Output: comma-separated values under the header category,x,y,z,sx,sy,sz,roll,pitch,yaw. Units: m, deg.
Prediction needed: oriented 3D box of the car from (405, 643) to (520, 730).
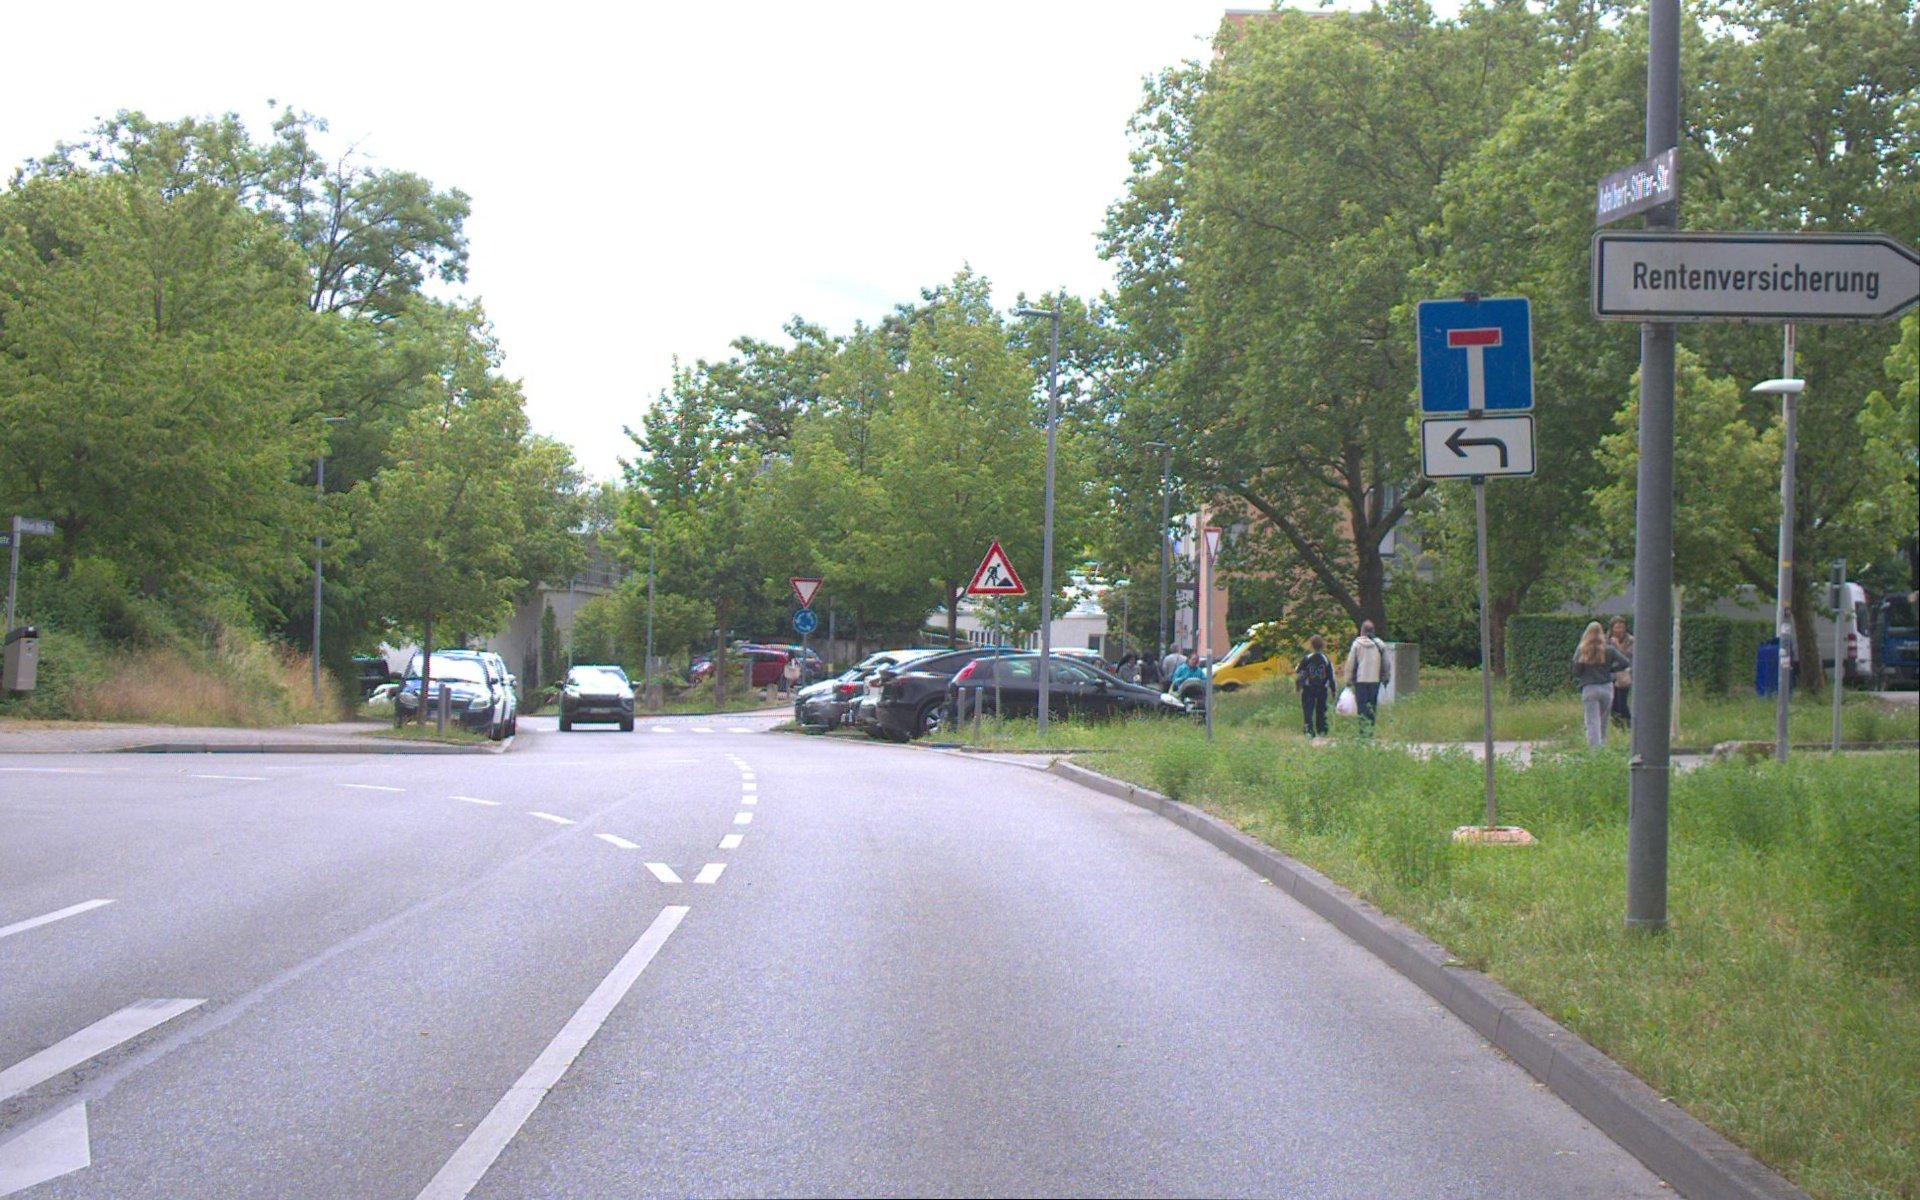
category,x,y,z,sx,sy,sz,roll,pitch,yaw
car,-9.032,1.553,62.687,1.765,1.495,3.935,1,-1,-4

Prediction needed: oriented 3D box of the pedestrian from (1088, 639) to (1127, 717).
category,x,y,z,sx,sy,sz,roll,pitch,yaw
pedestrian,2.923,1.541,68.032,0.690,1.499,0.753,2,-1,-1

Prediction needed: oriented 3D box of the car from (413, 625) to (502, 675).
category,x,y,z,sx,sy,sz,roll,pitch,yaw
car,-14.075,1.402,96.254,1.200,1.332,2.605,2,-1,-41

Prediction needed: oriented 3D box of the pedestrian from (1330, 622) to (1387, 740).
category,x,y,z,sx,sy,sz,roll,pitch,yaw
pedestrian,6.017,1.219,51.963,0.801,1.717,0.823,1,1,6

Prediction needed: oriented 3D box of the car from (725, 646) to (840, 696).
category,x,y,z,sx,sy,sz,roll,pitch,yaw
car,-6.057,2.417,117.227,3.539,1.558,1.622,2,-1,-20

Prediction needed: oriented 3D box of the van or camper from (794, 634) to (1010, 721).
category,x,y,z,sx,sy,sz,roll,pitch,yaw
van or camper,-1.325,1.740,77.435,4.671,1.863,1.772,1,1,-8

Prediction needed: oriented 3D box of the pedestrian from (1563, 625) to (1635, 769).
category,x,y,z,sx,sy,sz,roll,pitch,yaw
pedestrian,7.302,1.102,39.282,0.775,1.591,0.823,1,1,10

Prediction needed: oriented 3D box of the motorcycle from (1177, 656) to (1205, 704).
category,x,y,z,sx,sy,sz,roll,pitch,yaw
motorcycle,4.102,1.417,60.969,0.453,0.791,1.263,1,1,6

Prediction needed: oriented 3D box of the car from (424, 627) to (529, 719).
category,x,y,z,sx,sy,sz,roll,pitch,yaw
car,-9.586,1.427,68.365,1.765,1.747,3.935,1,0,-4

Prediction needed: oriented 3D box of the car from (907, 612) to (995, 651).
category,x,y,z,sx,sy,sz,roll,pitch,yaw
car,-0.408,1.410,153.571,3.539,1.648,1.622,2,-1,-20

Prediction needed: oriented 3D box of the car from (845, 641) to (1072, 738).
category,x,y,z,sx,sy,sz,roll,pitch,yaw
car,-0.032,1.593,60.785,3.922,1.625,1.771,1,-3,0

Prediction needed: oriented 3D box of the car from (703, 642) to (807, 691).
category,x,y,z,sx,sy,sz,roll,pitch,yaw
car,-7.370,2.389,123.573,3.539,1.648,1.622,2,-1,-8

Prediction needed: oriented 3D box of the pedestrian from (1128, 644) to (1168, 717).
category,x,y,z,sx,sy,sz,roll,pitch,yaw
pedestrian,3.718,1.597,68.079,0.690,1.420,0.753,2,-1,-1

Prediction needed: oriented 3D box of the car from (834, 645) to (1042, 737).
category,x,y,z,sx,sy,sz,roll,pitch,yaw
car,-0.428,1.734,65.873,3.922,1.625,1.772,1,1,0

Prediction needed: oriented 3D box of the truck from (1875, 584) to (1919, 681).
category,x,y,z,sx,sy,sz,roll,pitch,yaw
truck,24.440,0.805,86.592,2.328,2.288,5.890,2,1,18

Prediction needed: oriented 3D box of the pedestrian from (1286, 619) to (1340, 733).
category,x,y,z,sx,sy,sz,roll,pitch,yaw
pedestrian,5.510,1.173,53.576,0.774,1.717,0.823,1,1,7

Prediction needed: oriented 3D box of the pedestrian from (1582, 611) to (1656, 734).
category,x,y,z,sx,sy,sz,roll,pitch,yaw
pedestrian,9.345,1.013,48.725,0.775,1.689,0.822,2,1,28

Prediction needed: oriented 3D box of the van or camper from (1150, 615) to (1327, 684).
category,x,y,z,sx,sy,sz,roll,pitch,yaw
van or camper,8.764,1.555,108.490,5.291,2.034,2.061,1,1,-5

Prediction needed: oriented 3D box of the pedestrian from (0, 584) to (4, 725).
category,x,y,z,sx,sy,sz,roll,pitch,yaw
pedestrian,-12.290,0.657,42.483,0.820,1.717,0.777,1,1,-21

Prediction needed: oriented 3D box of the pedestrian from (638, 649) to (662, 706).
category,x,y,z,sx,sy,sz,roll,pitch,yaw
pedestrian,-10.206,2.543,113.170,0.720,1.858,0.651,0,1,-12

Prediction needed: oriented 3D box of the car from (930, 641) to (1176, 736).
category,x,y,z,sx,sy,sz,roll,pitch,yaw
car,1.484,1.453,55.834,3.922,1.463,1.771,1,-3,0

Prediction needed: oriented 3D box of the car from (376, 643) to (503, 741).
category,x,y,z,sx,sy,sz,roll,pitch,yaw
car,-8.677,1.514,57.538,1.765,1.495,3.935,1,0,-4

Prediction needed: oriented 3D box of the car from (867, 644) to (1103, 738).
category,x,y,z,sx,sy,sz,roll,pitch,yaw
car,0.407,1.550,58.060,3.922,1.495,1.771,1,-3,0

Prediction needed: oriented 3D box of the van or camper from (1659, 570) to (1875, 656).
category,x,y,z,sx,sy,sz,roll,pitch,yaw
van or camper,19.165,0.291,81.672,4.680,1.908,1.769,1,1,29

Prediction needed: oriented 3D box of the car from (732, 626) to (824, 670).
category,x,y,z,sx,sy,sz,roll,pitch,yaw
car,-7.331,1.943,138.569,3.540,1.648,1.621,2,-1,2

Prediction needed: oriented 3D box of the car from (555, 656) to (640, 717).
category,x,y,z,sx,sy,sz,roll,pitch,yaw
car,-9.112,2.157,86.655,1.974,1.459,3.935,1,-1,-4
